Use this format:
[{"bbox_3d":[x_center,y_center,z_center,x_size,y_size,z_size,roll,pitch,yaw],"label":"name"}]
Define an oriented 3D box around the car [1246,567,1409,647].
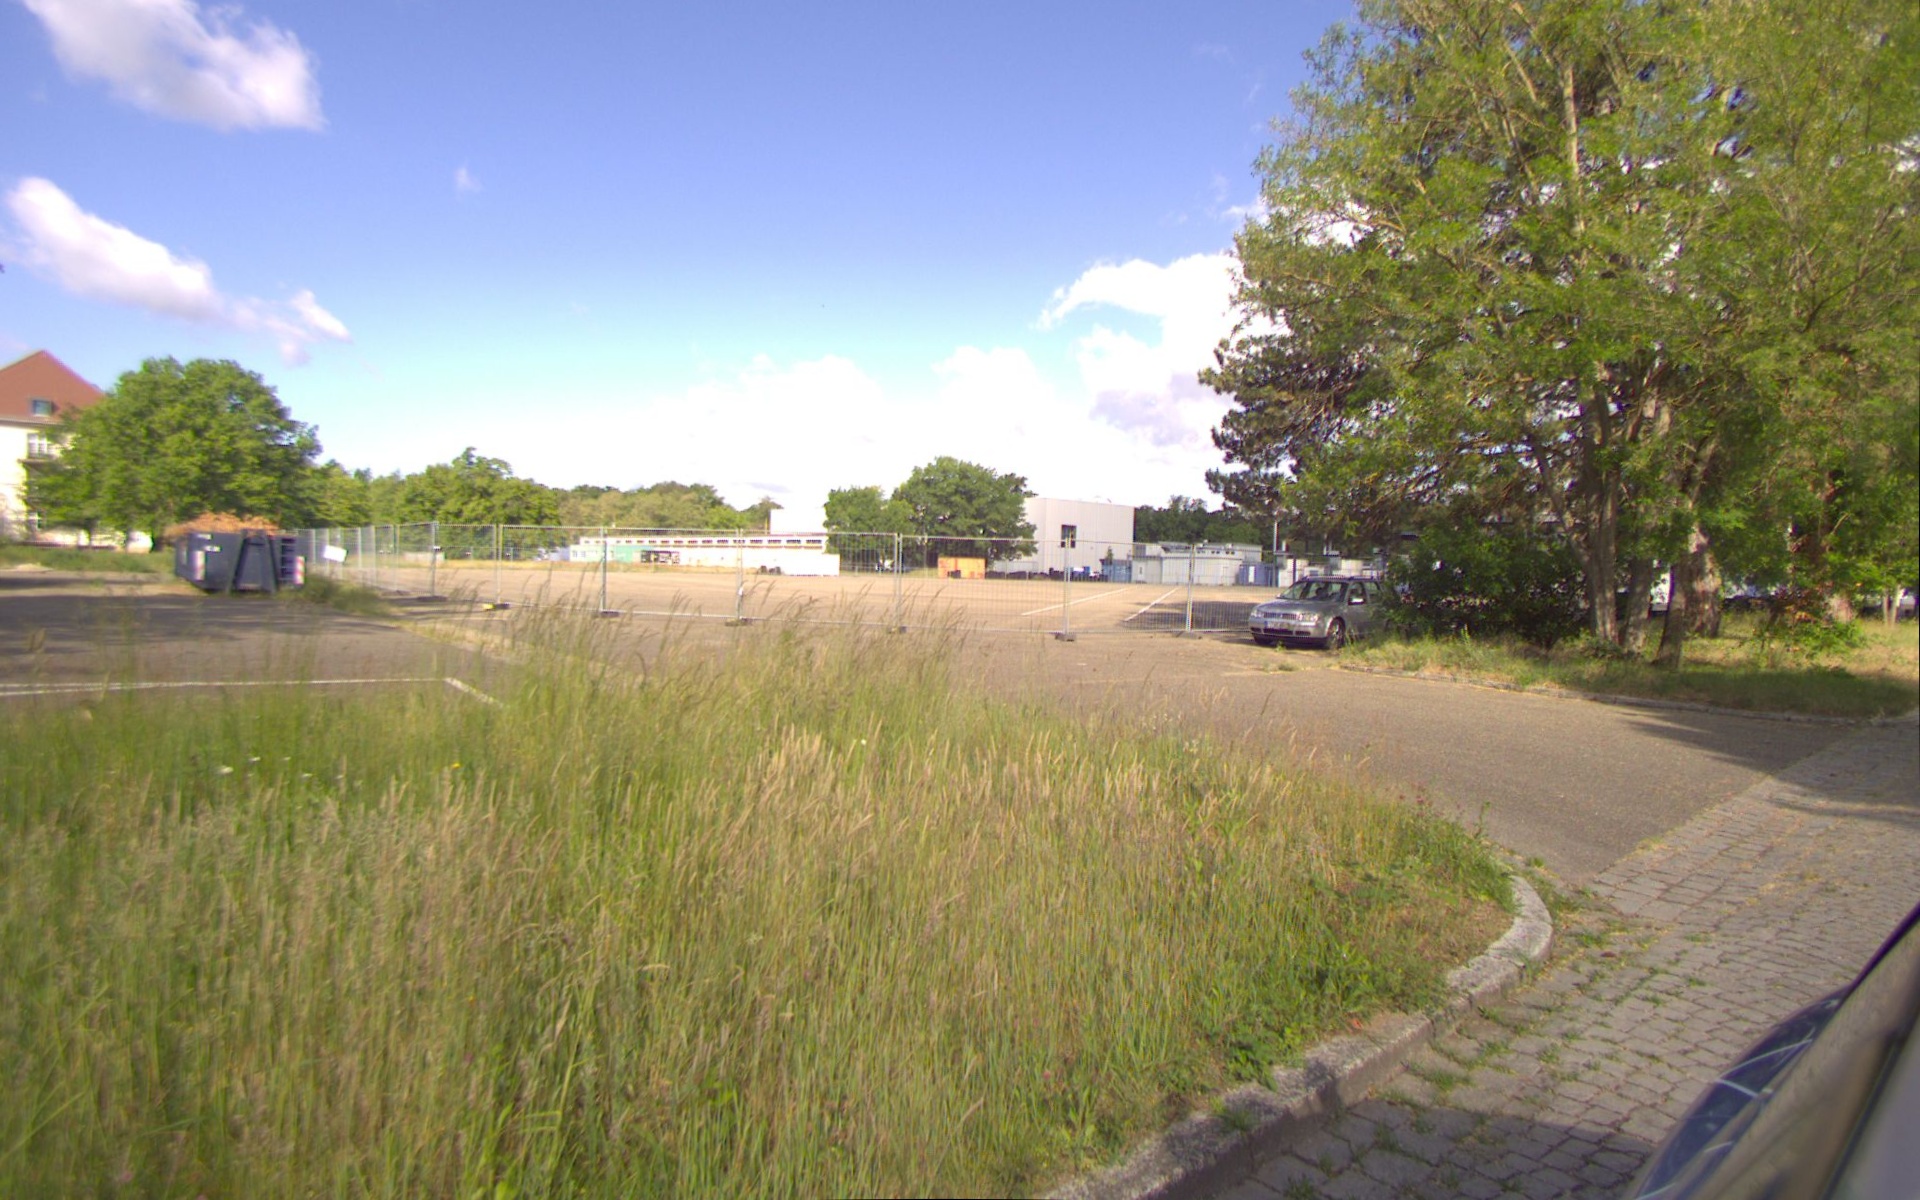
[{"bbox_3d":[7.652,0.100,20.913,3.921,1.461,1.576,0,3,-44],"label":"car"}]
